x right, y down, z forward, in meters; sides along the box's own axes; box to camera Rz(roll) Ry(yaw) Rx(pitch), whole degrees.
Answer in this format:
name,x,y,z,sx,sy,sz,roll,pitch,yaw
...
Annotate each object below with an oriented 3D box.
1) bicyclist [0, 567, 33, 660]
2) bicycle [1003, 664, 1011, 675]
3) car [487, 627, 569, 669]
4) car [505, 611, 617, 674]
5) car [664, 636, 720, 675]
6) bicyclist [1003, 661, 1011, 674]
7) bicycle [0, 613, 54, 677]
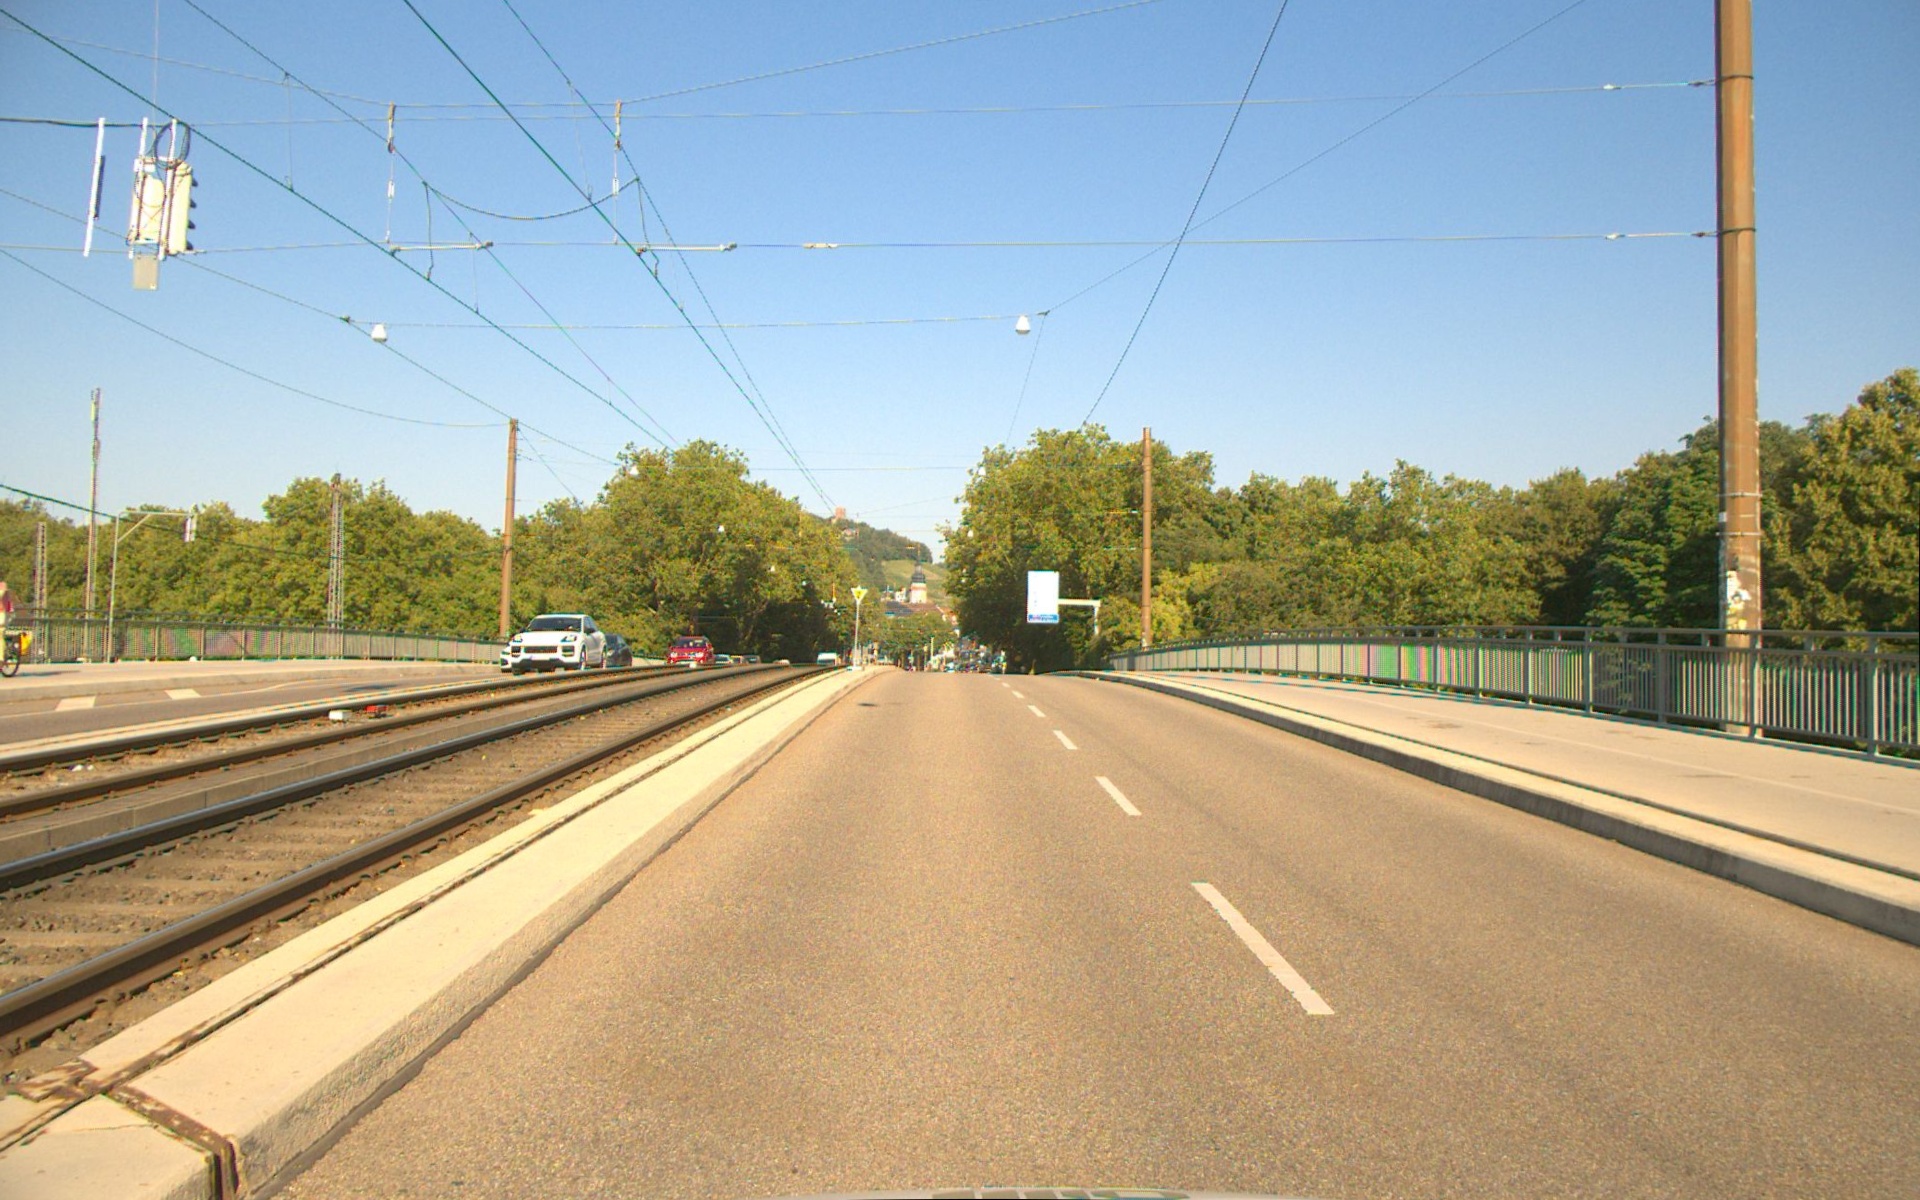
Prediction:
name,x,y,z,sx,sy,sz,roll,pitch,yaw
bicyclist,-17.373,0.249,29.927,0.612,1.662,0.935,1,-1,0
bicycle,5.881,8.728,207.051,0.869,1.344,2.639,0,-3,0
car,-15.231,1.673,58.611,1.650,1.380,4.919,1,-1,-1
car,-11.245,1.172,46.952,1.960,1.666,5.088,1,-1,-1
car,-11.529,2.408,71.453,1.771,1.546,3.998,2,-3,-1
bicyclist,5.884,8.441,207.164,0.869,1.667,1.164,0,-3,0
bicycle,-17.382,0.800,29.996,0.612,1.142,2.259,1,-1,0
